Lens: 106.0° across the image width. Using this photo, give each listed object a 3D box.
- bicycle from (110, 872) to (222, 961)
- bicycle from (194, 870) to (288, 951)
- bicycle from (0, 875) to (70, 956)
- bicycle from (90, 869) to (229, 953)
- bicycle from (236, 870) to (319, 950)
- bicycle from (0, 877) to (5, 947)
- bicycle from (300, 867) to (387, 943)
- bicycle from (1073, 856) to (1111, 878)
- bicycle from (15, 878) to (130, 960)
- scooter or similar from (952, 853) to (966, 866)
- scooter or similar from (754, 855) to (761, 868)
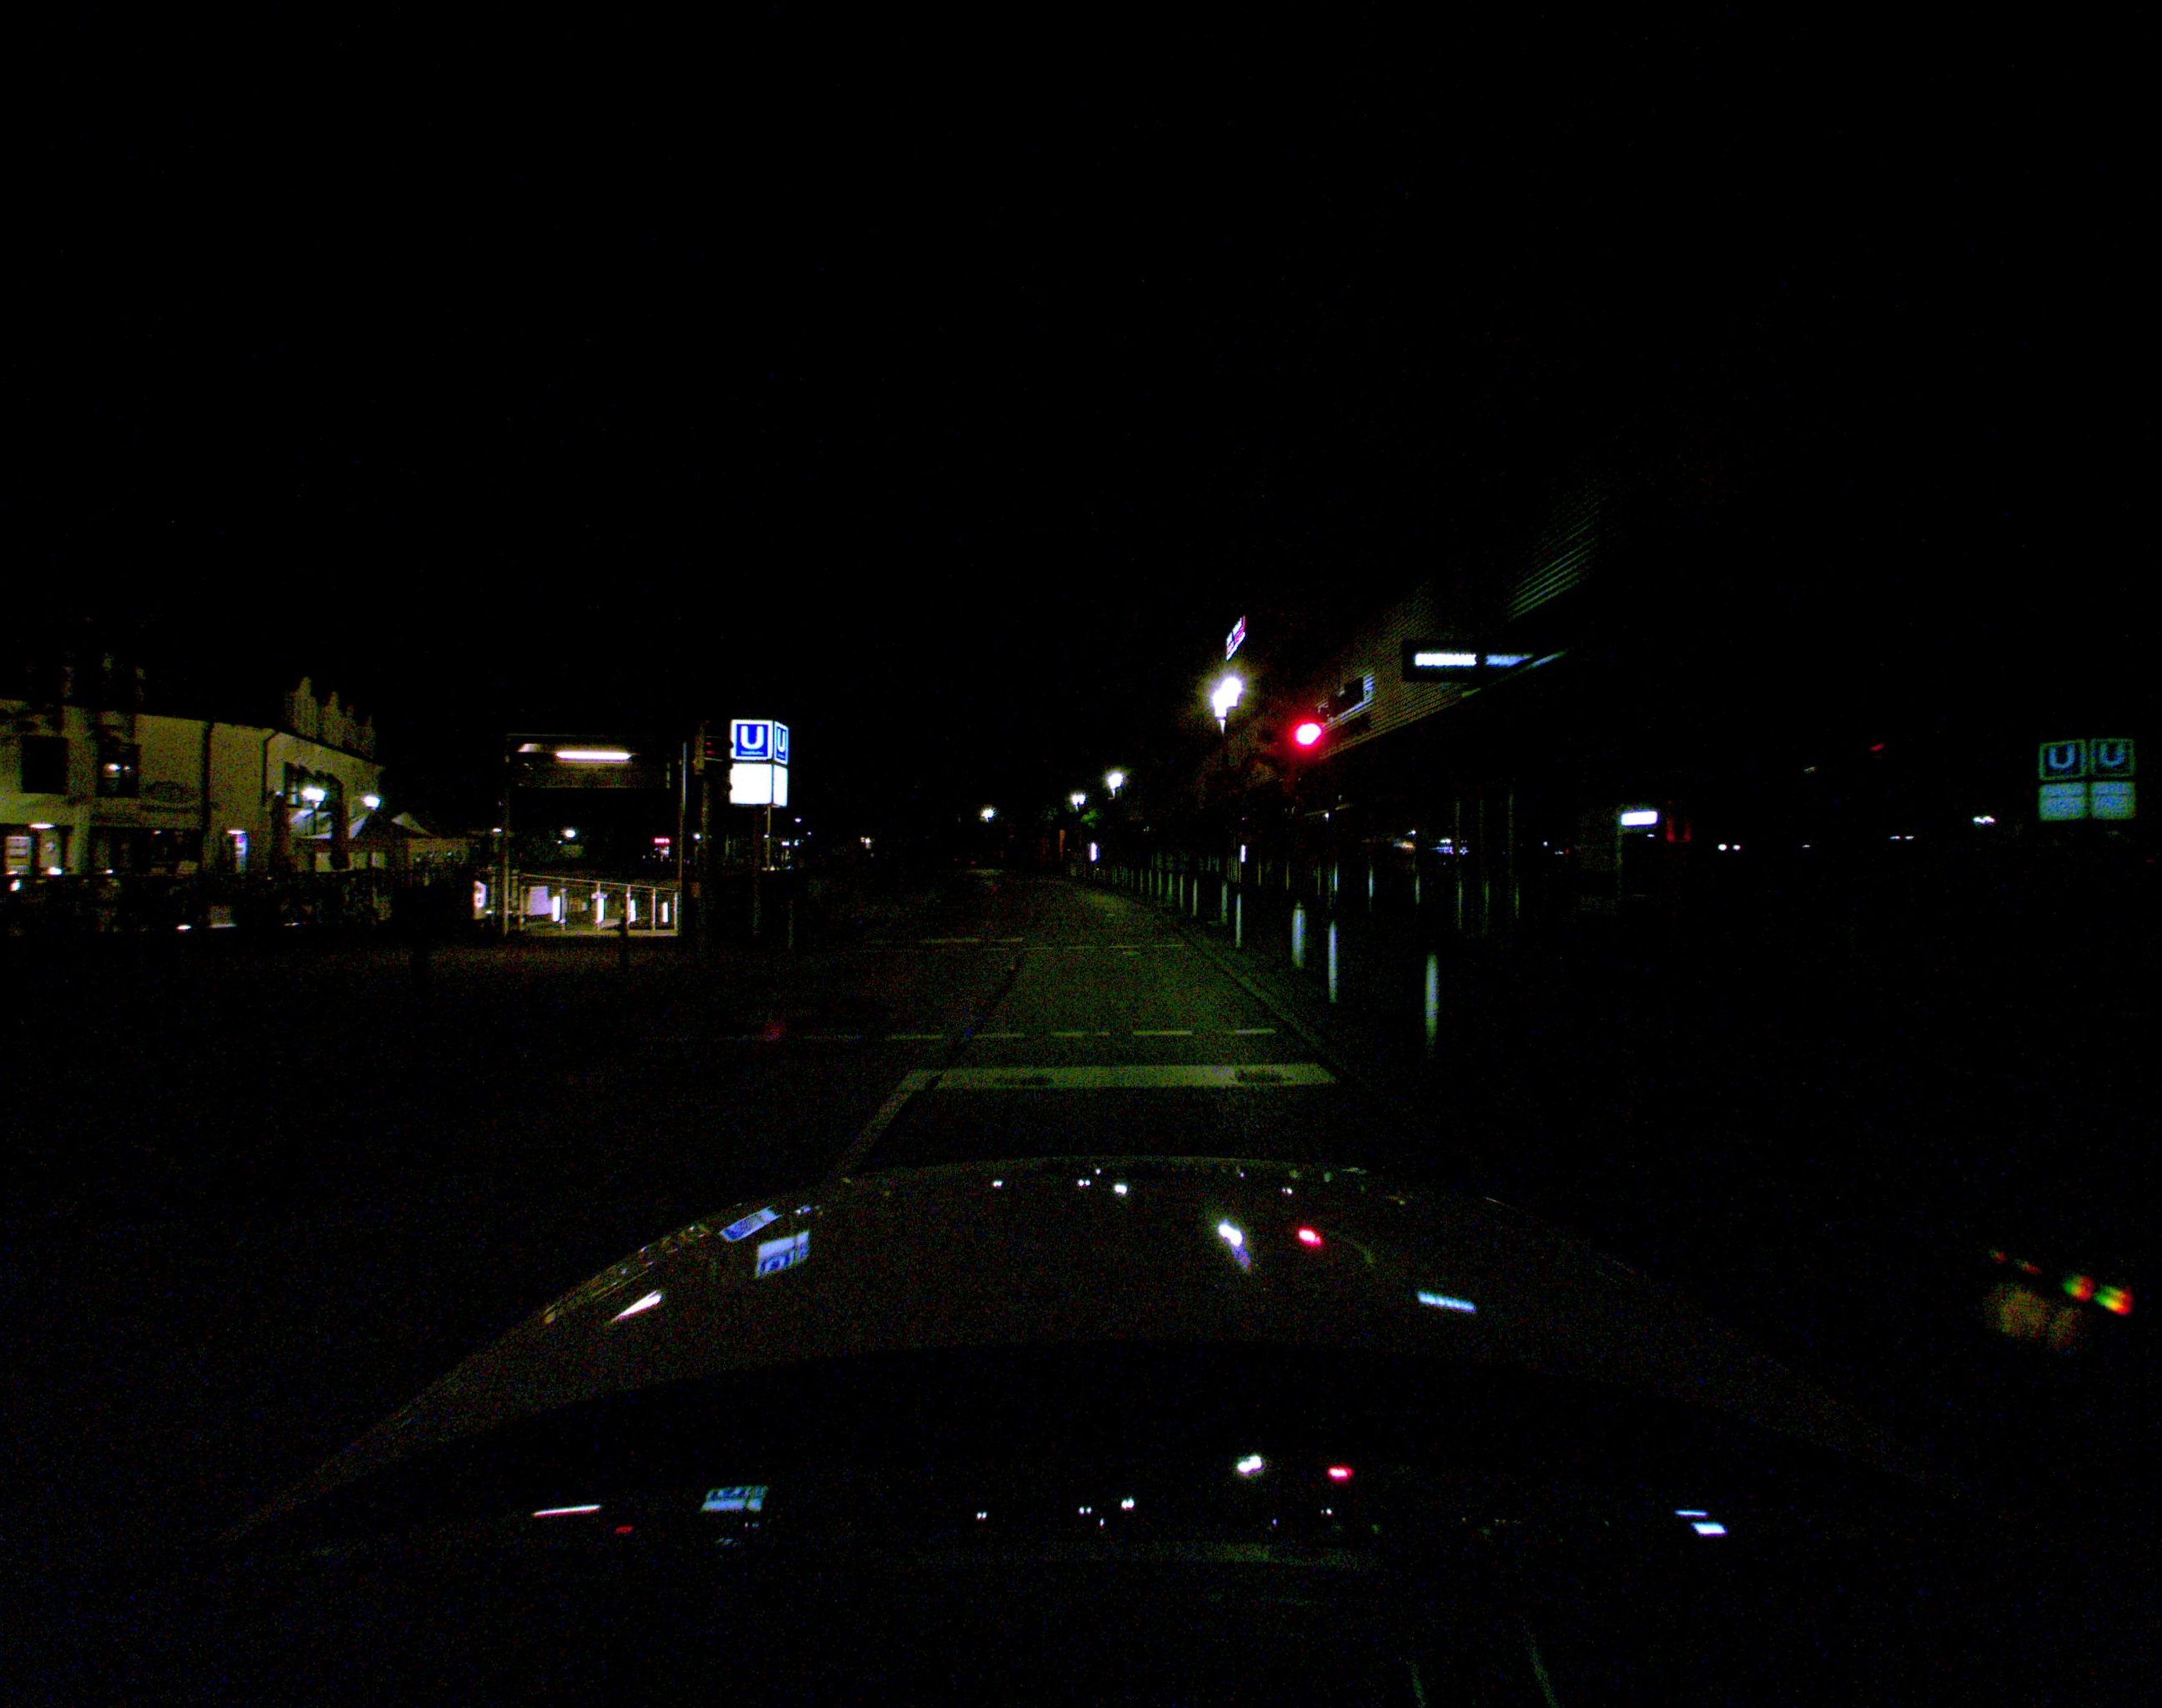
[{"bbox_3d":[-13.783,0.897,12.325,0.611,1.165,1.730,-1,1,-31],"label":"bicycle"},{"bbox_3d":[-13.611,0.873,13.240,0.611,1.165,1.730,-1,1,-31],"label":"bicycle"},{"bbox_3d":[-15.980,0.915,11.896,0.608,1.125,1.737,-1,1,-16],"label":"bicycle"},{"bbox_3d":[-14.655,0.865,13.023,0.608,1.165,1.738,-1,1,-16],"label":"bicycle"},{"bbox_3d":[-13.084,0.869,13.314,0.547,1.154,1.730,-1,1,-31],"label":"bicycle"},{"bbox_3d":[-16.880,0.923,11.796,0.608,1.100,1.737,-1,1,-16],"label":"bicycle"},{"bbox_3d":[-12.747,0.848,14.131,0.764,1.162,1.730,-1,1,-31],"label":"bicycle"},{"bbox_3d":[0.544,0.633,40.057,1.757,1.062,0.650,0,1,-24],"label":"bicycle"},{"bbox_3d":[-15.251,0.942,12.364,0.611,1.069,1.728,-1,1,-35],"label":"bicycle"},{"bbox_3d":[-12.449,0.566,82.796,1.253,1.227,0.593,1,0,-27],"label":"scooter or similar"},{"bbox_3d":[-33.000,0.806,83.076,0.433,1.284,1.135,-1,1,-33],"label":"scooter or similar"}]
